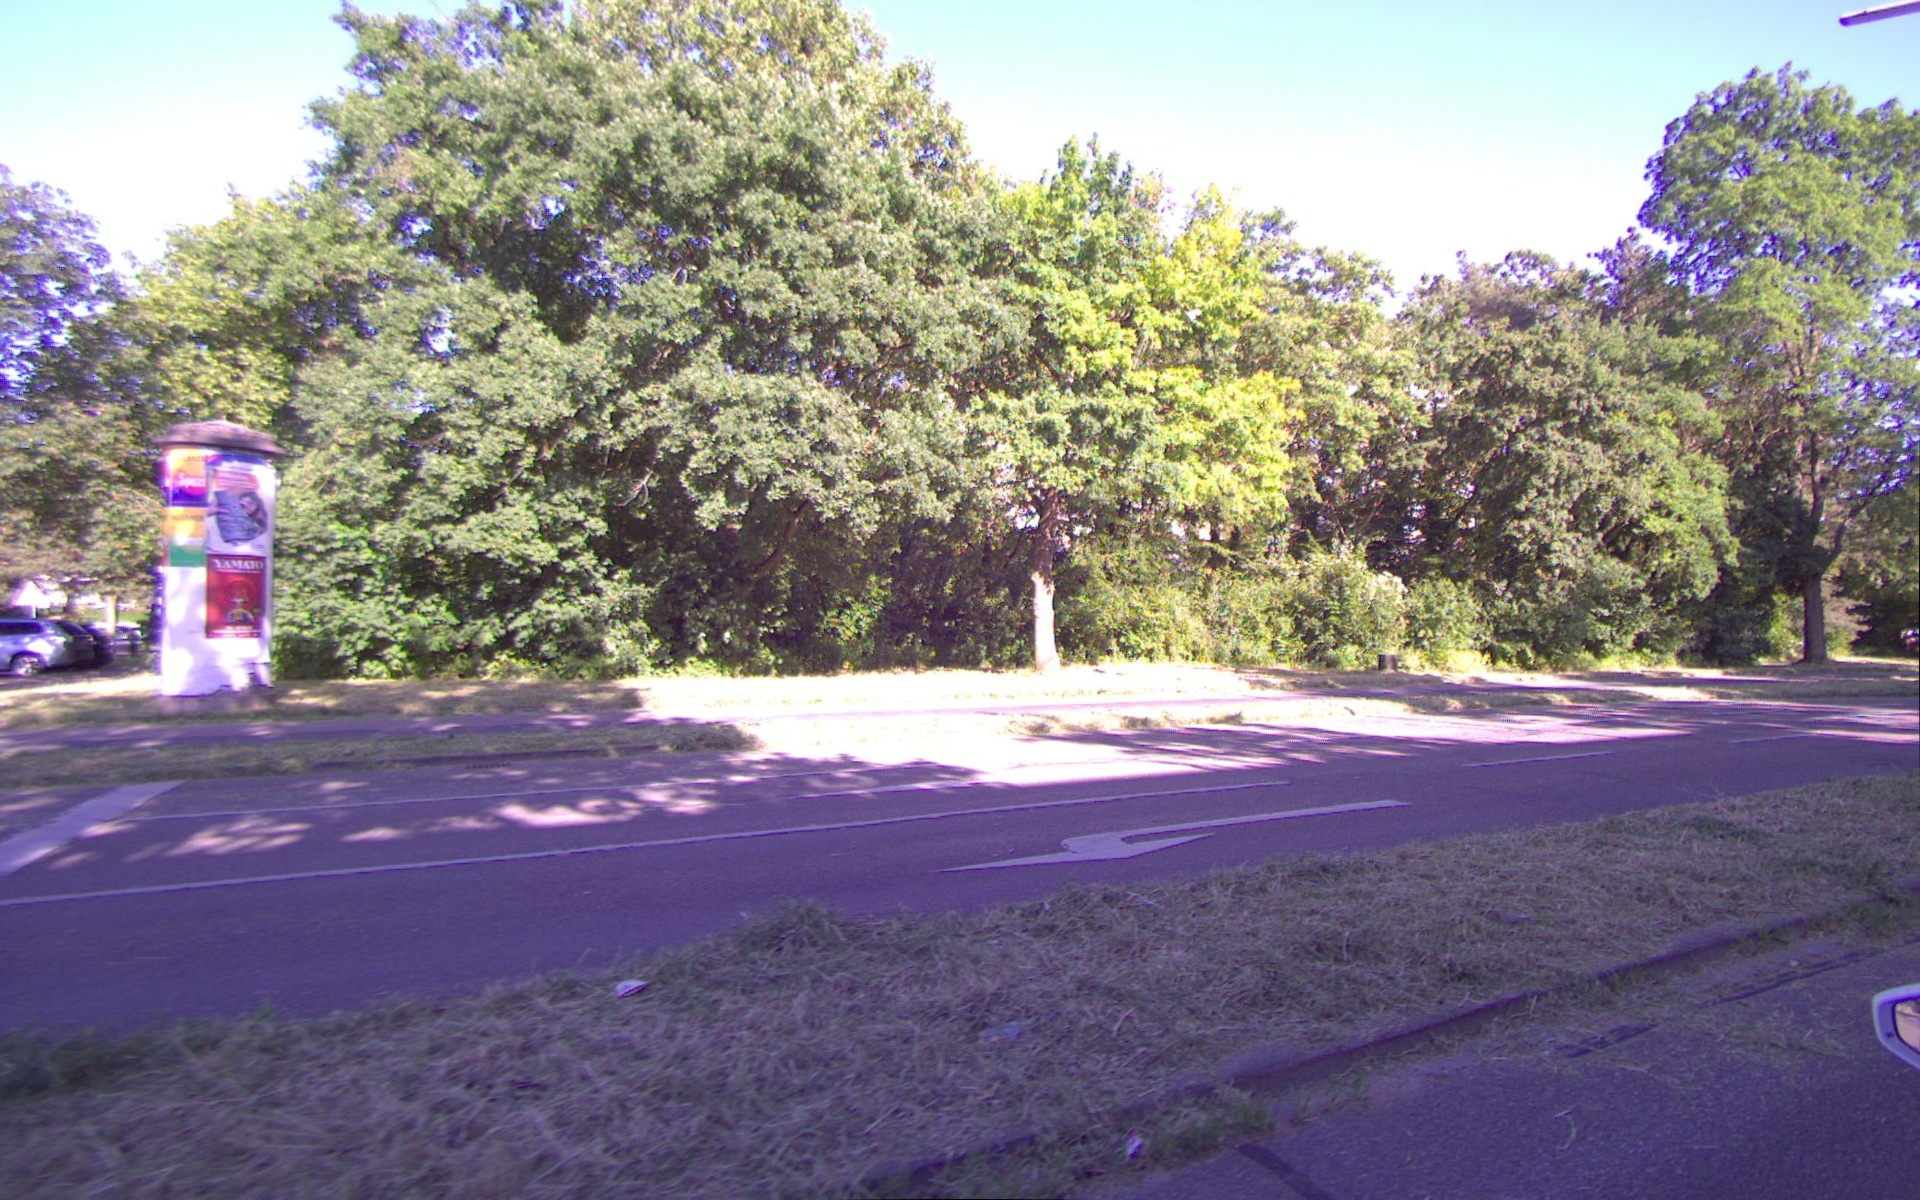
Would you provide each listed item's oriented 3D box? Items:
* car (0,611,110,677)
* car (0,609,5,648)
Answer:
[{"bbox_3d":[-26.953,1.219,28.066,4.448,1.806,1.845,1,-2,-22],"label":"car"},{"bbox_3d":[-45.816,1.264,45.830,1.973,1.839,3.977,1,-3,-24],"label":"car"}]
